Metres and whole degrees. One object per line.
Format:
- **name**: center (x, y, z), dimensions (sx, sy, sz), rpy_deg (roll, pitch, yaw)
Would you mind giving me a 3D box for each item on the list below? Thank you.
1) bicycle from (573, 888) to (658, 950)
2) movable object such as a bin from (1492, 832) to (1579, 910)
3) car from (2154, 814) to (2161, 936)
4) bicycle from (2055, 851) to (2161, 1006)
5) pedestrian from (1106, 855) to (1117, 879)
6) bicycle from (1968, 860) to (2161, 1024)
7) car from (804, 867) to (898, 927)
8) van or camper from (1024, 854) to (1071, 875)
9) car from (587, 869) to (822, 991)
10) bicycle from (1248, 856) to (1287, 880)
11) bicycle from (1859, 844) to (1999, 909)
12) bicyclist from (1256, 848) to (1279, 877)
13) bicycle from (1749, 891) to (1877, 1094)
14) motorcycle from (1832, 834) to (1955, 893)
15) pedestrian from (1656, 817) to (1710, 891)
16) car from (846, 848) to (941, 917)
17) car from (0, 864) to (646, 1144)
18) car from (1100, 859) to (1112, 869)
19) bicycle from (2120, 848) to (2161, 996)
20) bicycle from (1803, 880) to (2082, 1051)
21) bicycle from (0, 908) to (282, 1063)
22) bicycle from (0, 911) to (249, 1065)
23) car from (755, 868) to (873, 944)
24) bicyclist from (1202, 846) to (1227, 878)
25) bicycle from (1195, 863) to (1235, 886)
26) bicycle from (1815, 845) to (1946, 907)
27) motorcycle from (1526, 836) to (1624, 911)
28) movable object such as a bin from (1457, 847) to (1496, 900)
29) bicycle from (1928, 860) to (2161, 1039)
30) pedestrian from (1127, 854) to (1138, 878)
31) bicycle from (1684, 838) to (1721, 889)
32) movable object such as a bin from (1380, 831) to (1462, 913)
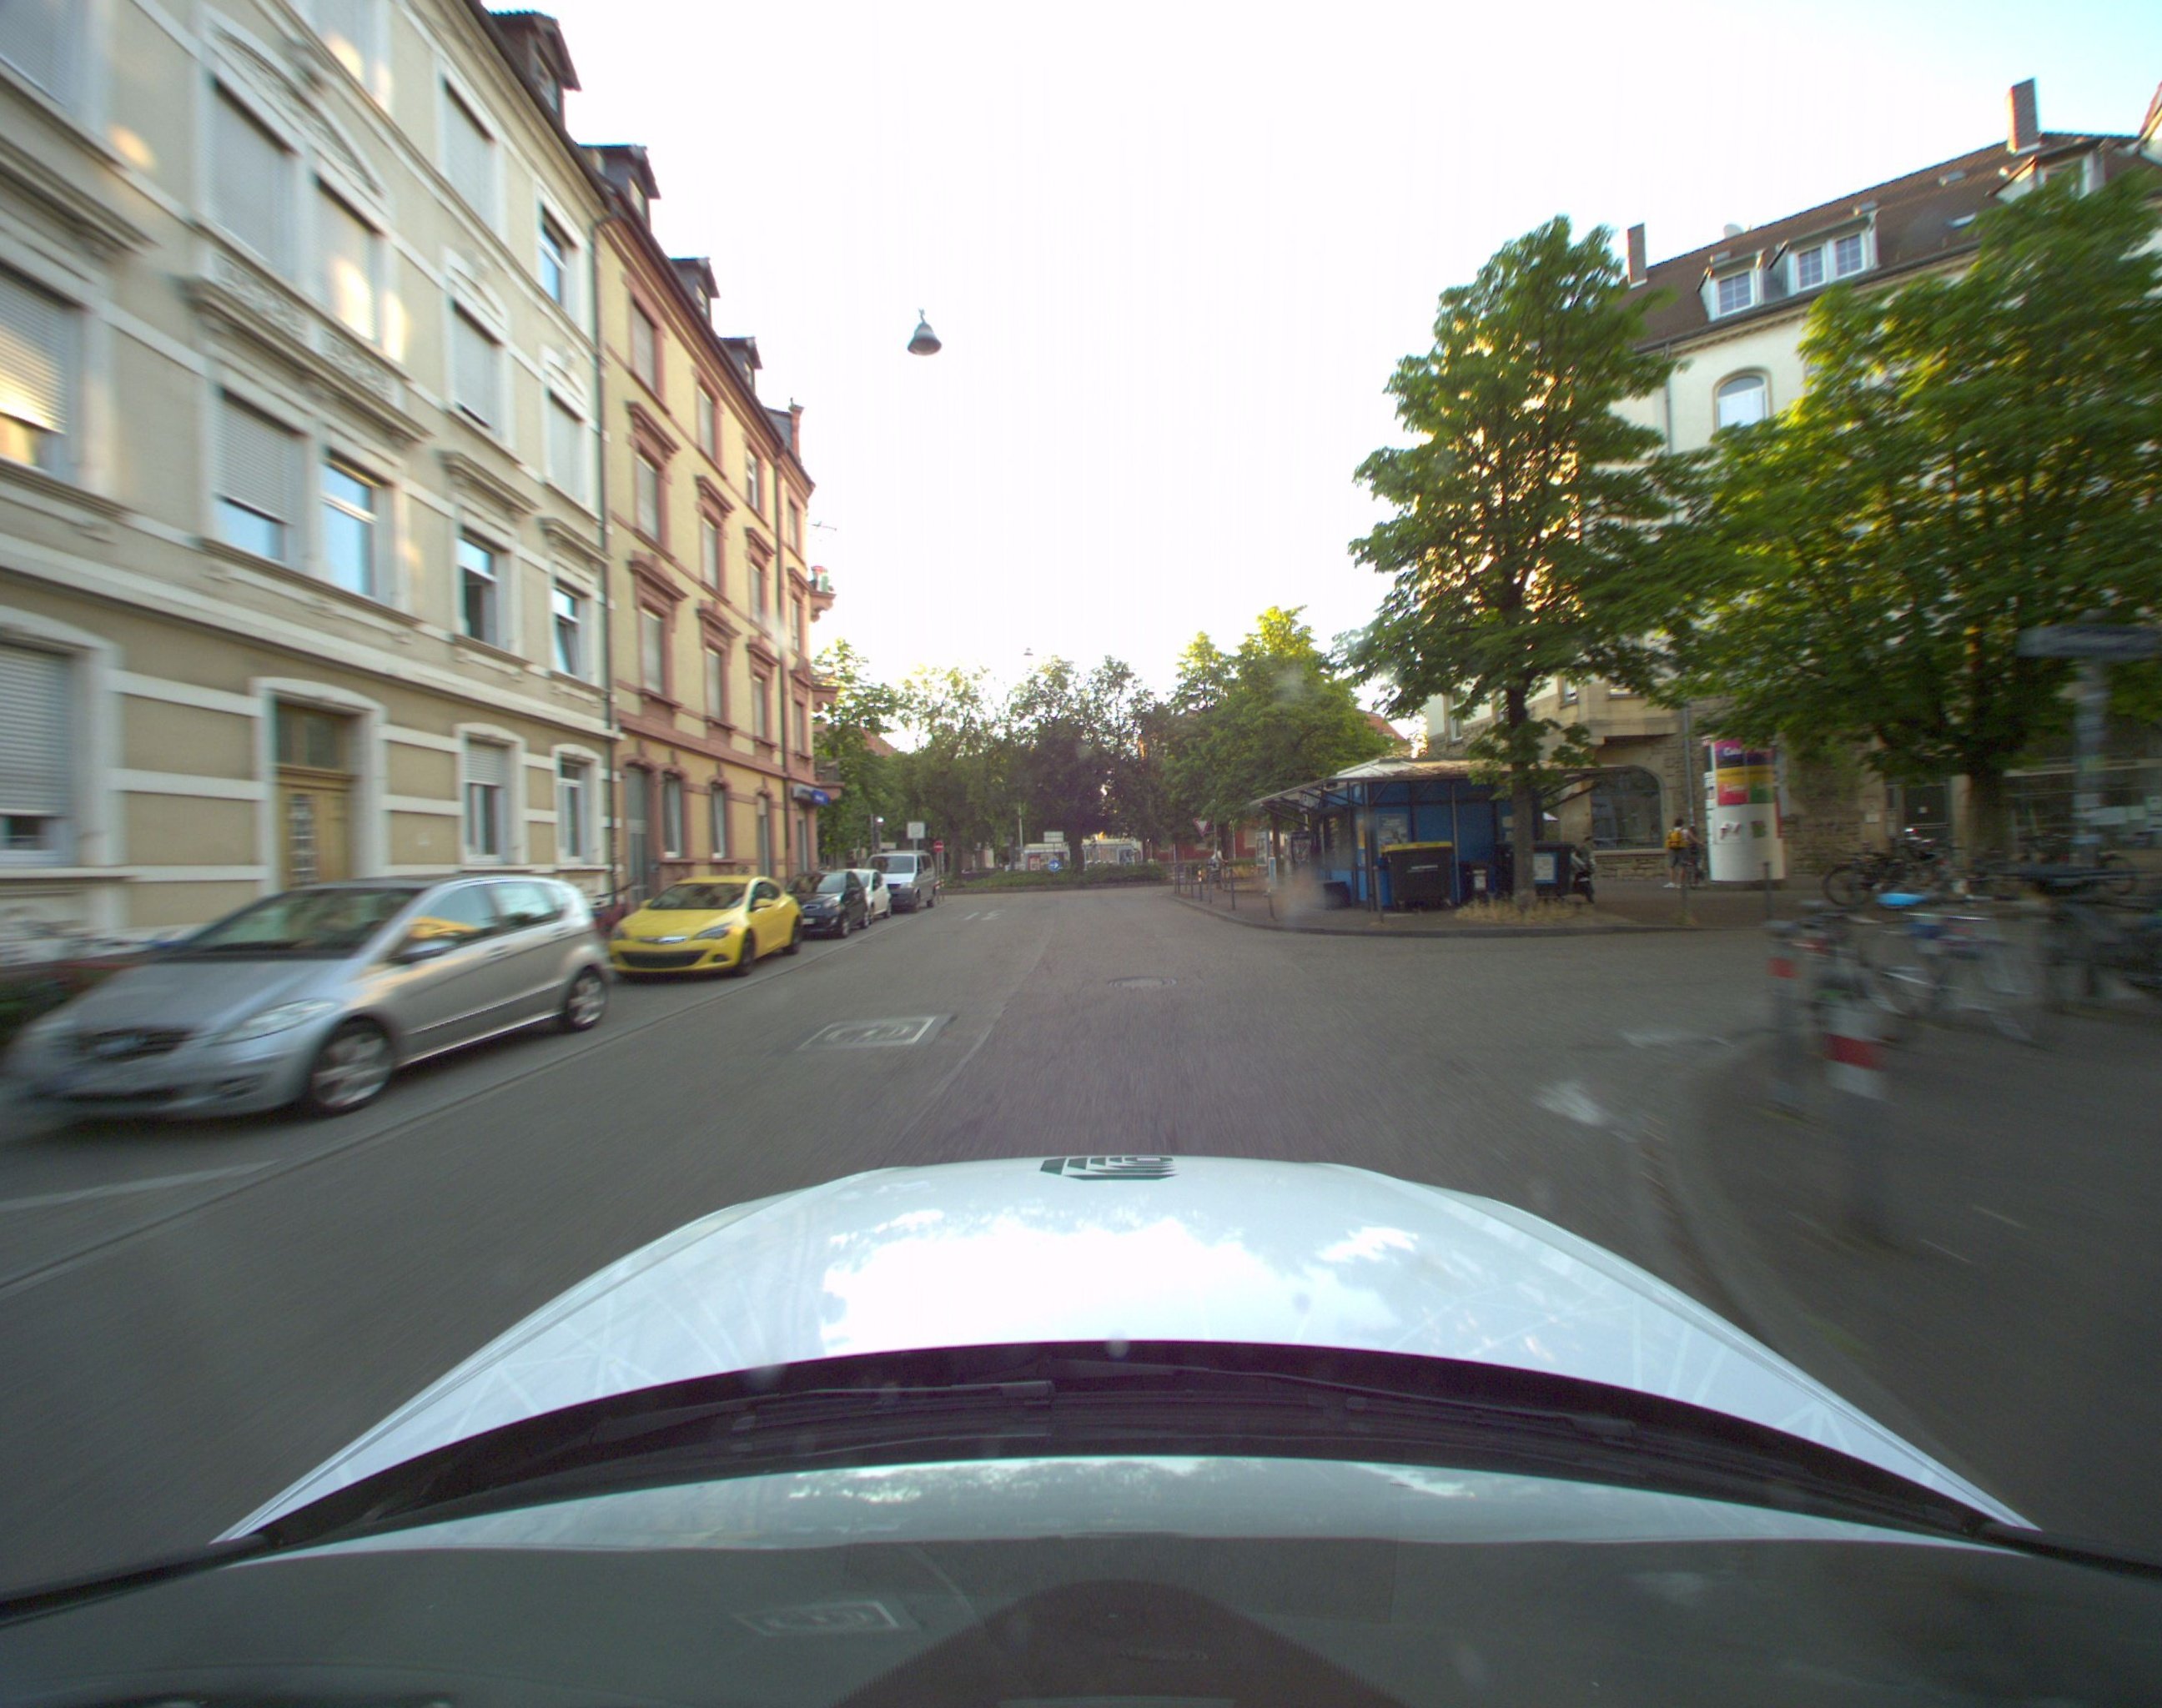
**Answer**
- **bicycle**: center (-9.159, 1.251, 16.095), dimensions (0.660, 1.070, 1.832), rpy_deg (-3, 0, -3)
- **movable object such as a bin**: center (8.963, 0.326, 16.102), dimensions (1.274, 1.475, 0.821), rpy_deg (1, 0, 7)
- **car**: center (14.249, 0.139, 8.336), dimensions (4.011, 1.384, 1.884), rpy_deg (-3, -1, 0)
- **bicycle**: center (8.097, 0.546, 5.751), dimensions (0.498, 1.112, 1.840), rpy_deg (-3, 0, 12)
- **pedestrian**: center (1.861, 0.804, 49.823), dimensions (0.614, 1.431, 0.655), rpy_deg (-2, 0, 0)
- **bicycle**: center (7.610, 0.601, 5.976), dimensions (0.471, 1.070, 1.840), rpy_deg (-3, 0, 12)
- **car**: center (-6.296, 1.138, 22.712), dimensions (1.679, 1.491, 3.611), rpy_deg (-1, 0, -2)
- **van or camper**: center (-5.416, 1.669, 129.634), dimensions (7.355, 3.083, 2.668), rpy_deg (-1, -1, -6)
- **car**: center (-5.795, 1.059, 13.307), dimensions (1.835, 1.526, 4.795), rpy_deg (0, 0, -3)
- **bicycle**: center (9.115, 0.683, 39.766), dimensions (1.839, 1.070, 0.702), rpy_deg (-3, 0, -28)
- **bicycle**: center (14.192, 0.369, 13.654), dimensions (1.728, 0.996, 0.579), rpy_deg (-3, -1, -1)
- **bicyclist**: center (9.113, 0.414, 39.779), dimensions (0.740, 1.358, 0.702), rpy_deg (-2, -1, -27)
- **bicycle**: center (4.677, 0.799, 5.176), dimensions (1.484, 1.039, 0.427), rpy_deg (-2, -1, -43)
- **motorcycle**: center (15.972, 0.178, 16.033), dimensions (1.821, 1.054, 0.579), rpy_deg (-3, -1, -1)
- **pedestrian**: center (15.236, 0.001, 20.627), dimensions (0.967, 1.789, 1.012), rpy_deg (-4, -1, 37)
- **car**: center (-6.154, 0.882, 27.382), dimensions (2.034, 2.057, 5.003), rpy_deg (-1, 0, -1)
- **car**: center (-5.691, 0.909, 6.862), dimensions (1.794, 1.593, 4.145), rpy_deg (0, 0, 0)
- **car**: center (4.710, 1.919, 155.178), dimensions (1.989, 1.704, 4.715), rpy_deg (-1, -1, -2)
- **bicycle**: center (9.386, 0.505, 6.565), dimensions (1.832, 1.151, 0.555), rpy_deg (-2, -1, -16)
- **bicycle**: center (6.016, 0.714, 5.832), dimensions (0.443, 0.979, 1.711), rpy_deg (-3, 0, 12)
- **bicycle**: center (-8.727, 1.151, 7.688), dimensions (0.478, 1.140, 1.863), rpy_deg (-3, 0, 0)
- **bicycle**: center (-9.065, 1.180, 7.679), dimensions (0.478, 1.140, 1.863), rpy_deg (-3, 0, 0)
- **car**: center (-5.947, 1.098, 18.582), dimensions (1.726, 1.491, 3.735), rpy_deg (-1, 0, -5)
- **bicyclist**: center (6.639, 0.401, 40.525), dimensions (0.918, 1.502, 0.705), rpy_deg (-3, -1, -17)
- **bicycle**: center (6.656, 1.010, 40.516), dimensions (1.833, 1.070, 0.705), rpy_deg (-3, 0, -17)
- **bicycle**: center (14.124, 0.380, 14.413), dimensions (1.728, 0.996, 0.579), rpy_deg (-3, -1, -1)
- **motorcycle**: center (10.339, 0.382, 17.124), dimensions (0.864, 1.453, 1.882), rpy_deg (-3, 0, 0)
- **movable object such as a bin**: center (7.835, 0.377, 16.148), dimensions (0.478, 1.001, 0.487), rpy_deg (-3, 0, 0)
- **bicycle**: center (7.071, 0.596, 5.761), dimensions (0.508, 1.066, 1.840), rpy_deg (-3, 0, 12)
- **pedestrian**: center (3.160, 0.717, 49.987), dimensions (0.614, 1.431, 0.655), rpy_deg (-2, 0, 0)
- **bicycle**: center (15.531, 0.218, 20.341), dimensions (0.627, 1.188, 1.926), rpy_deg (-4, -1, 38)
- **movable object such as a bin**: center (6.688, 0.342, 16.063), dimensions (1.215, 1.475, 0.767), rpy_deg (-5, -1, 7)
